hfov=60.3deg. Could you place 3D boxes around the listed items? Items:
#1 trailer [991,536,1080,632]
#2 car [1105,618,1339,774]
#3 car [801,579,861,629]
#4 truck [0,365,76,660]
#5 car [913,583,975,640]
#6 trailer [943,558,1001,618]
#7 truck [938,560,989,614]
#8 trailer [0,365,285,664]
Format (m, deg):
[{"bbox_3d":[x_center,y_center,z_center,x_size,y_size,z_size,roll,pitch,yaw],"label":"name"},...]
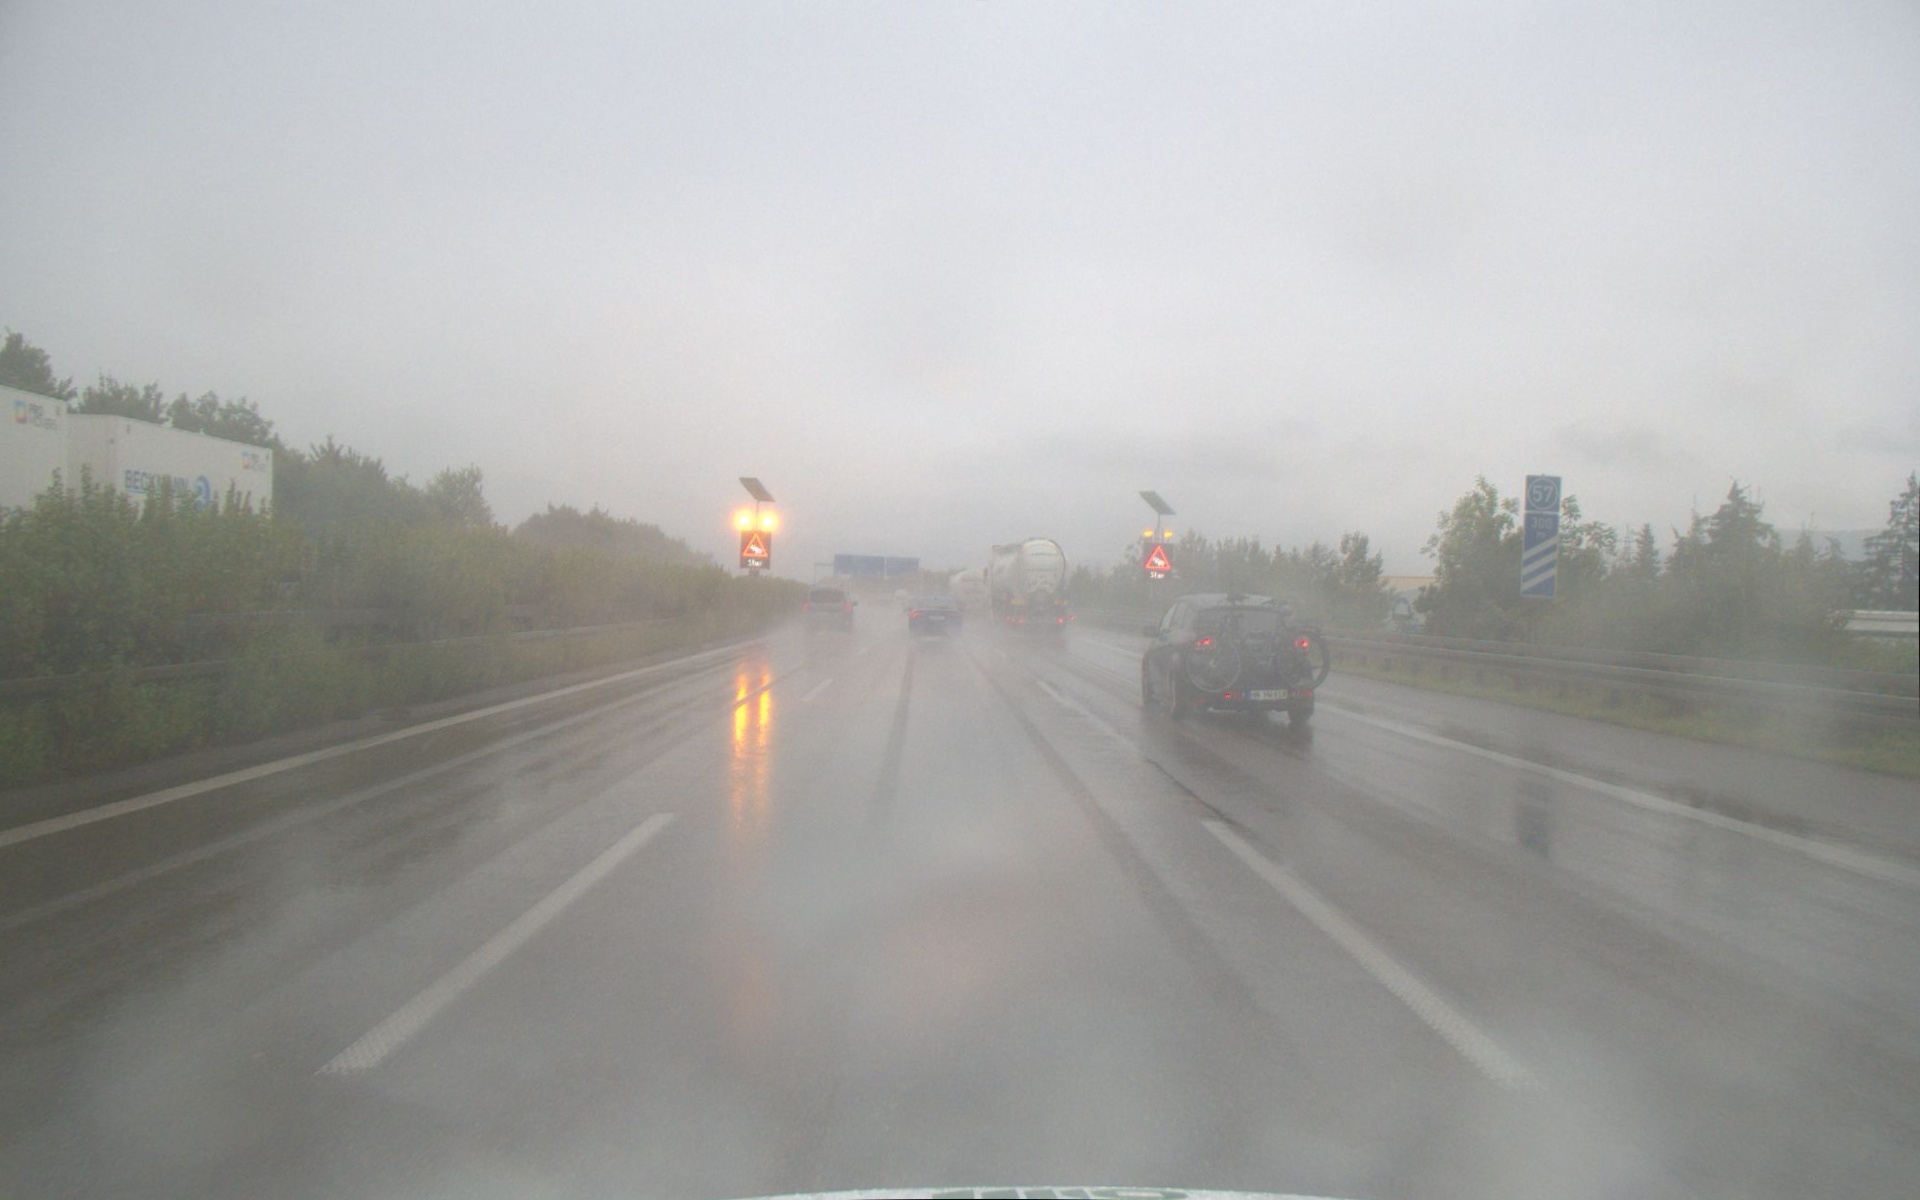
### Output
[{"bbox_3d":[3.077,-0.663,70.640,3.123,3.734,11.665,1,0,0],"label":"trailer"},{"bbox_3d":[3.419,1.191,22.847,2.407,1.776,5.720,1,0,1],"label":"car"},{"bbox_3d":[-4.694,0.128,60.721,1.886,1.771,4.403,1,0,-1],"label":"car"},{"bbox_3d":[-17.194,-1.409,24.080,3.758,4.720,9.405,1,0,-2],"label":"truck"},{"bbox_3d":[-0.529,0.356,54.838,1.938,1.787,4.480,1,0,-1],"label":"car"},{"bbox_3d":[0.737,-0.813,113.906,2.947,3.915,8.612,1,0,-6],"label":"trailer"},{"bbox_3d":[0.214,-0.921,117.841,2.887,3.748,6.353,1,0,-6],"label":"truck"},{"bbox_3d":[-17.347,-1.396,30.518,3.791,4.777,15.022,1,0,-1],"label":"trailer"}]
